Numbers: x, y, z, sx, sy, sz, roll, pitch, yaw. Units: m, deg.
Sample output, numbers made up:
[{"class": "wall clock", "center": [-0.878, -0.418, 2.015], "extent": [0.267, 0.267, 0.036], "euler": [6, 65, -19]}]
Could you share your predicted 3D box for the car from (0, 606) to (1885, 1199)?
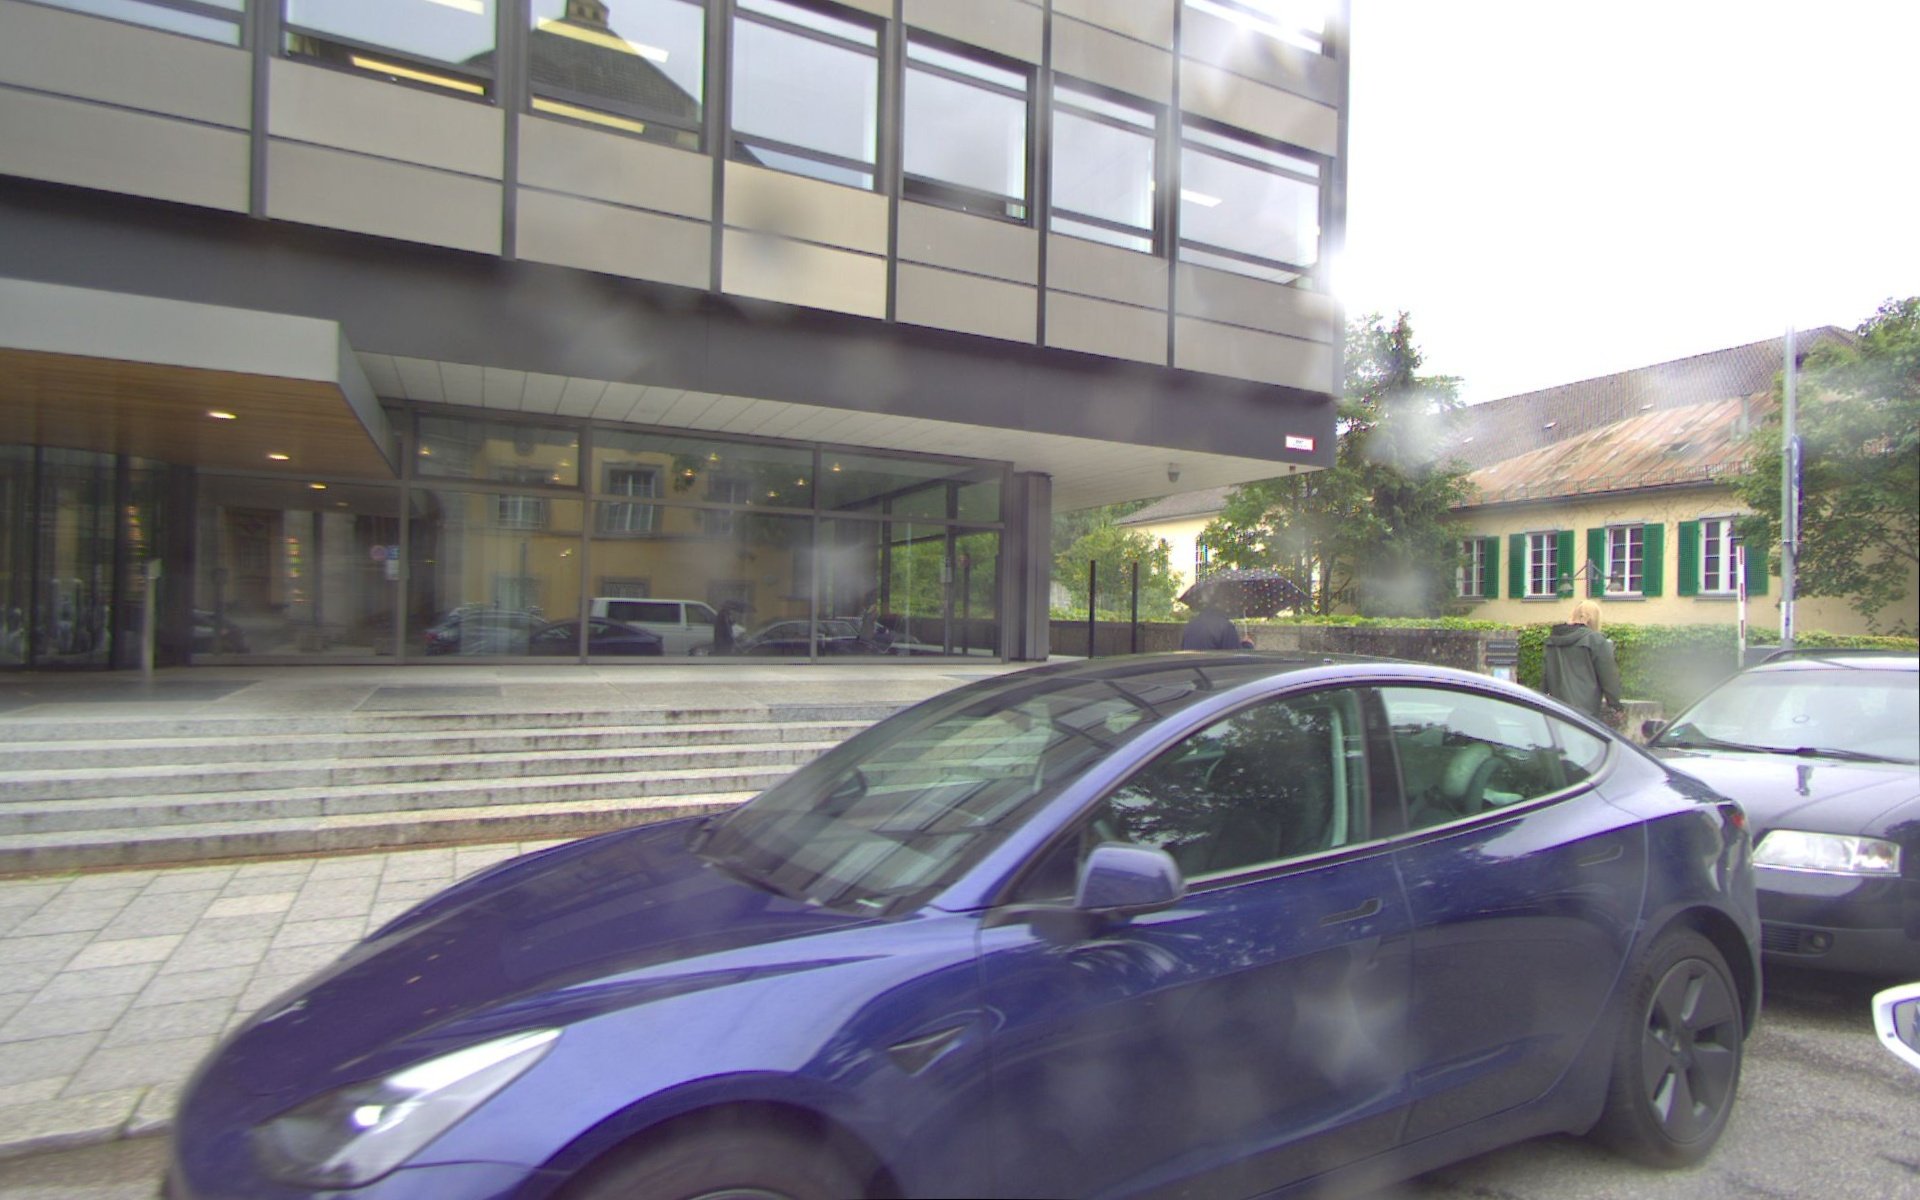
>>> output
[{"class": "car", "center": [0.485, 0.848, 3.053], "extent": [4.856, 1.458, 1.916], "euler": [2, -3, -28]}]

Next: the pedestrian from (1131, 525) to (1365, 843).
[{"class": "pedestrian", "center": [2.087, 0.574, 7.357], "extent": [1.205, 2.082, 1.131], "euler": [1, -2, -27]}]

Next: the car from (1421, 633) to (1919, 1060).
[{"class": "car", "center": [5.062, 0.968, 5.518], "extent": [4.817, 1.510, 1.988], "euler": [2, -2, -25]}]

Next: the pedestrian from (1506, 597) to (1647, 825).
[{"class": "pedestrian", "center": [5.175, 0.873, 8.425], "extent": [0.946, 1.772, 0.746], "euler": [2, -1, -42]}]
